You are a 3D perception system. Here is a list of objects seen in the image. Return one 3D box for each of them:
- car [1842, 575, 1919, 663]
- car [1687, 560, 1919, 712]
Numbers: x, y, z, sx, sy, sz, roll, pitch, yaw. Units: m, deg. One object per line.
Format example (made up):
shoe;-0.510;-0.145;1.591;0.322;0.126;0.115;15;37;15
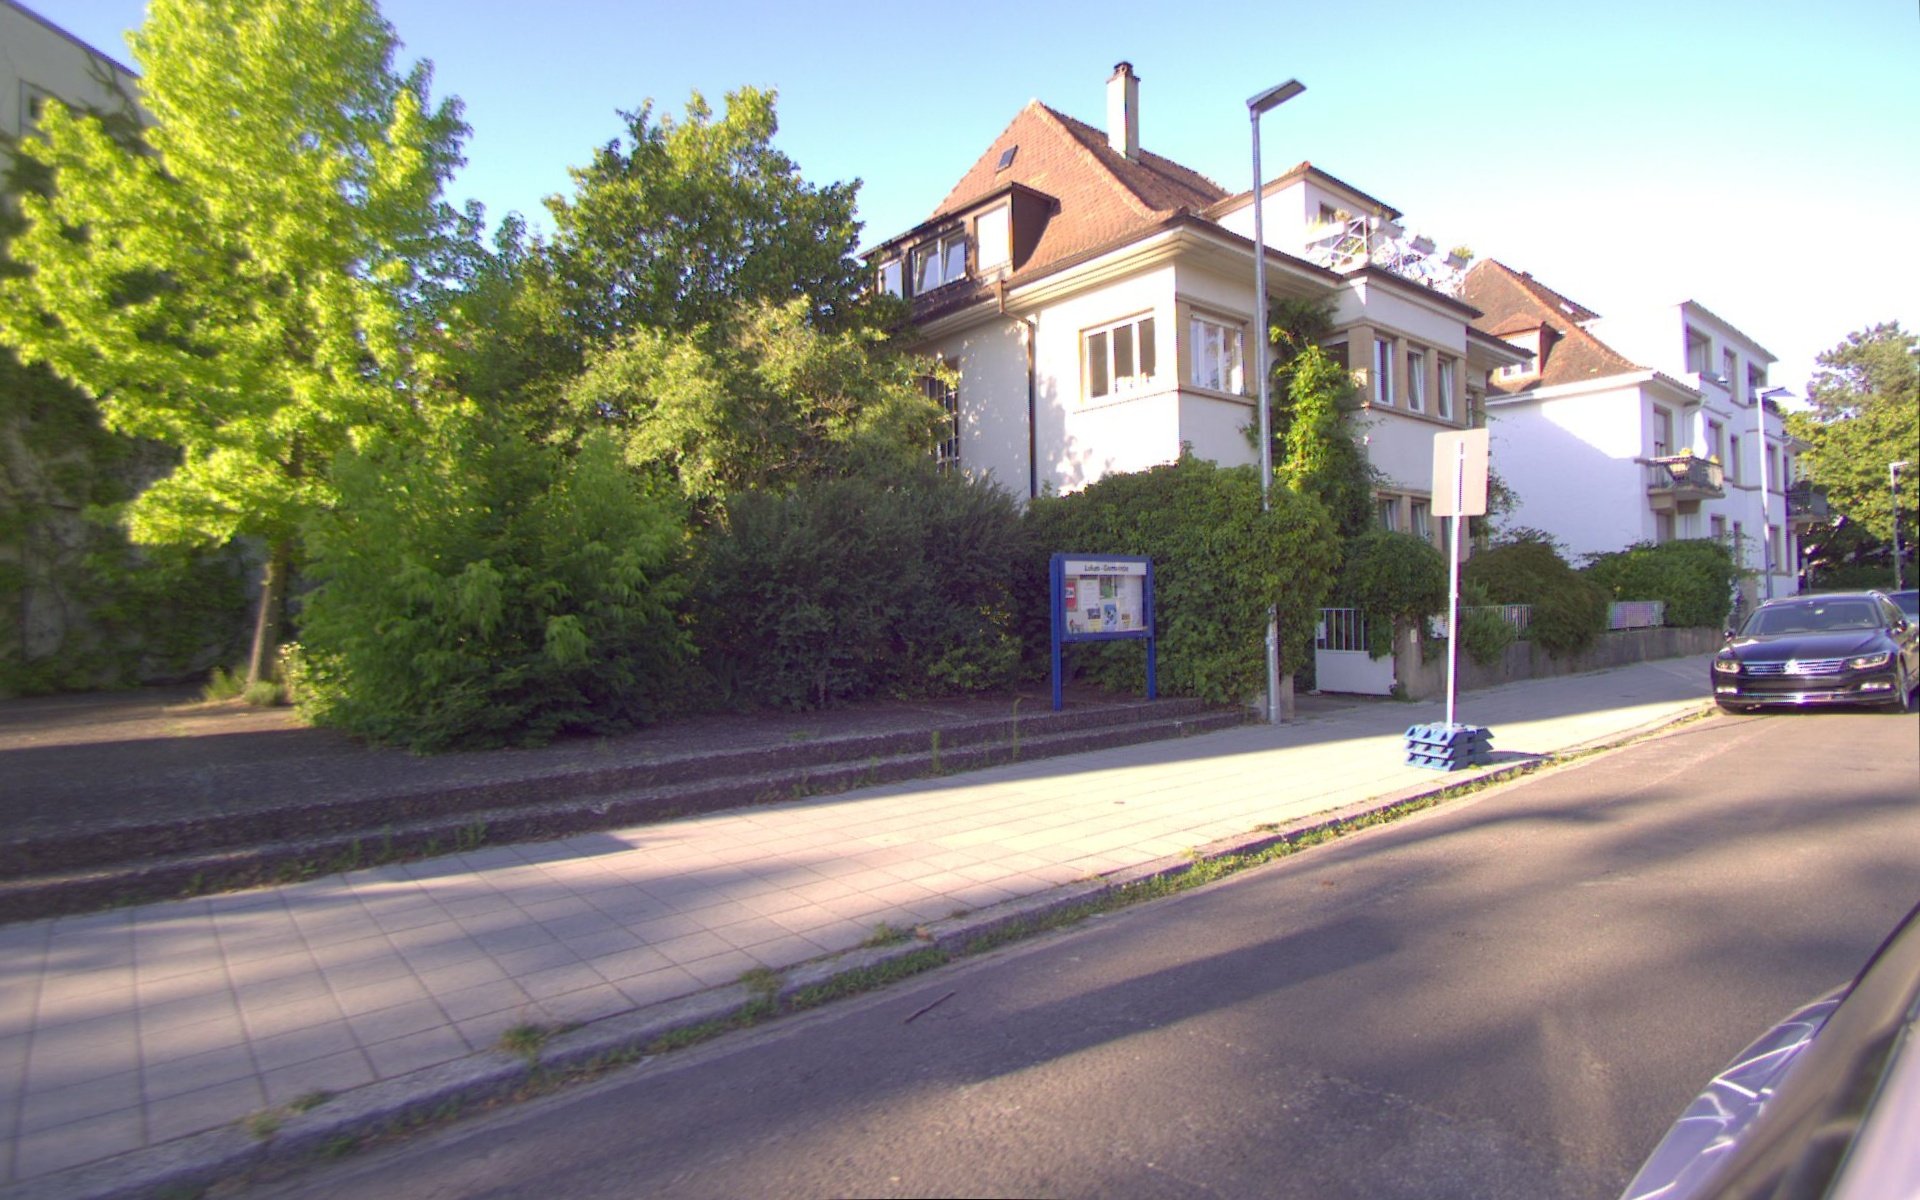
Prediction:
car;19.800;0.297;20.634;4.383;1.556;1.887;-3;-3;-39
car;11.640;0.394;13.505;4.803;1.618;1.995;-3;-4;-42
